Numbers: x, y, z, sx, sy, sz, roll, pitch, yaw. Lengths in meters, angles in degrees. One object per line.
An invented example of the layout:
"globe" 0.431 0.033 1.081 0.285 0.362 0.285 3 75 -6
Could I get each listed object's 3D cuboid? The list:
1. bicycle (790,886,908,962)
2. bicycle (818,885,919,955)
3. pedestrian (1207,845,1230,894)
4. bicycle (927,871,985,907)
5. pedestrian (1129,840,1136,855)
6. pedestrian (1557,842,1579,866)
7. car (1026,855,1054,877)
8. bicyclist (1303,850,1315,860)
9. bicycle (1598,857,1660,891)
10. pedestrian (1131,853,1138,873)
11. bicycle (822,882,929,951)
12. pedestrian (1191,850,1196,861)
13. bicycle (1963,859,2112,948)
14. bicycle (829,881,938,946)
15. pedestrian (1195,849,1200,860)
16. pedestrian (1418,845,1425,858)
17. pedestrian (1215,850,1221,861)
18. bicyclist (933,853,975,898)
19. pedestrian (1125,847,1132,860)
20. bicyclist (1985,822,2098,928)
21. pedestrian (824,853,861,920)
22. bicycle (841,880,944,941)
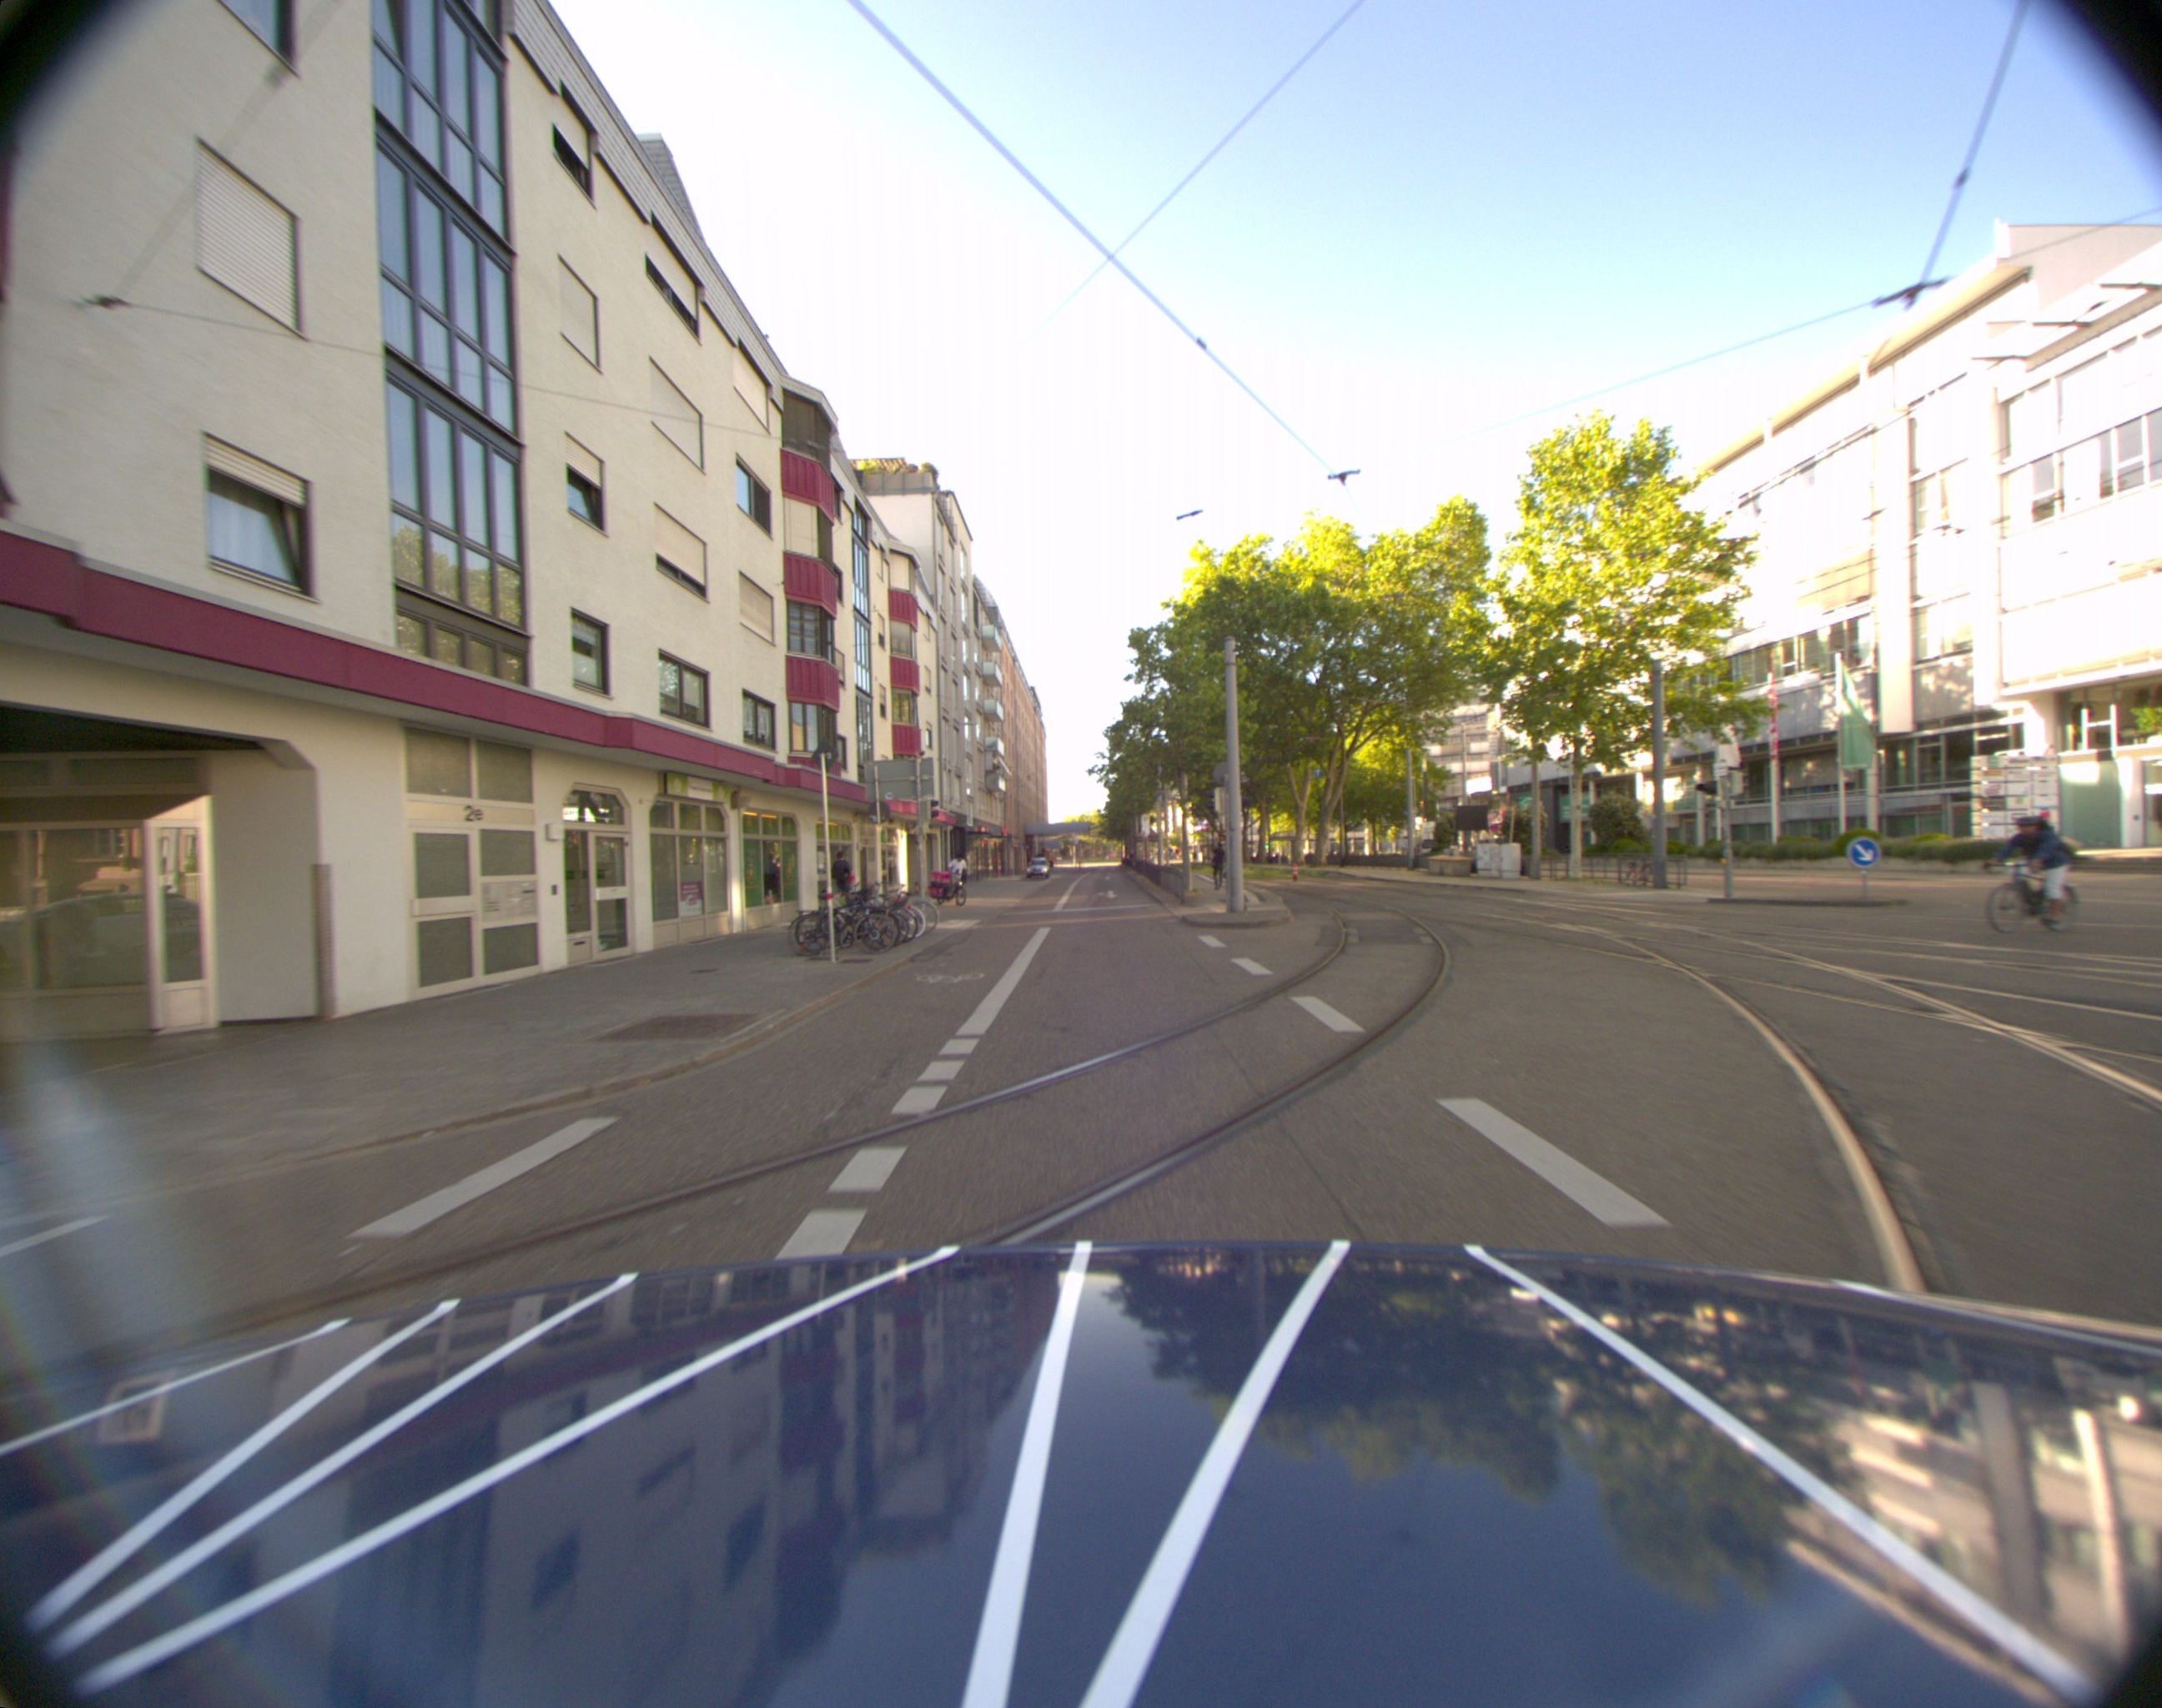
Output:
"bicycle" -3.924 1.177 12.878 1.805 1.192 0.546 -2 1 6
"bicycle" -3.799 1.176 13.618 1.626 1.192 0.496 -2 1 6
"pedestrian" 5.071 0.562 27.983 0.735 1.736 0.712 -2 0 7
"bicycle" -4.490 1.208 27.018 0.965 1.176 2.591 -2 0 -35
"pedestrian" 6.022 -0.740 89.136 0.708 1.791 0.826 -2 0 -5
"pedestrian" 32.019 -0.011 49.935 0.908 1.583 0.767 -1 0 1
"car" -3.236 0.926 60.715 1.837 1.613 4.285 1 0 3
"bicyclist" 29.025 0.167 96.561 1.007 1.242 1.374 -3 0 -3
"bicycle" 16.889 0.602 23.473 0.814 0.940 1.726 -2 0 8
"pedestrian" 5.057 0.882 71.923 0.647 1.875 0.661 -2 0 2
"bicycle" -3.829 1.154 14.191 1.835 1.213 0.496 -2 0 5
"pedestrian" 17.590 0.204 118.832 0.686 1.686 0.699 -2 0 -6
"bicycle" 14.103 0.701 11.206 2.044 1.182 0.590 -2 1 -15
"bicycle" -3.899 1.161 15.076 1.982 1.192 0.591 -2 0 -3
"pedestrian" 18.276 0.040 119.061 0.656 1.744 0.676 -2 0 -6
"pedestrian" 42.108 -0.313 94.043 0.579 1.595 0.580 -2 0 7
"pedestrian" 18.661 0.148 103.407 0.554 1.488 0.551 -2 0 -9
"bicyclist" -4.507 0.752 27.002 1.062 1.531 1.076 -2 0 -35
"pedestrian" 6.049 -0.090 97.426 0.742 1.680 0.645 -4 0 1
"bicyclist" 14.157 0.293 11.214 0.882 1.485 0.722 -2 0 -15
"pedestrian" -6.724 0.913 21.479 0.724 1.847 0.801 -2 0 1
"bicycle" -3.875 1.164 15.698 1.945 1.163 0.572 -2 0 -1
